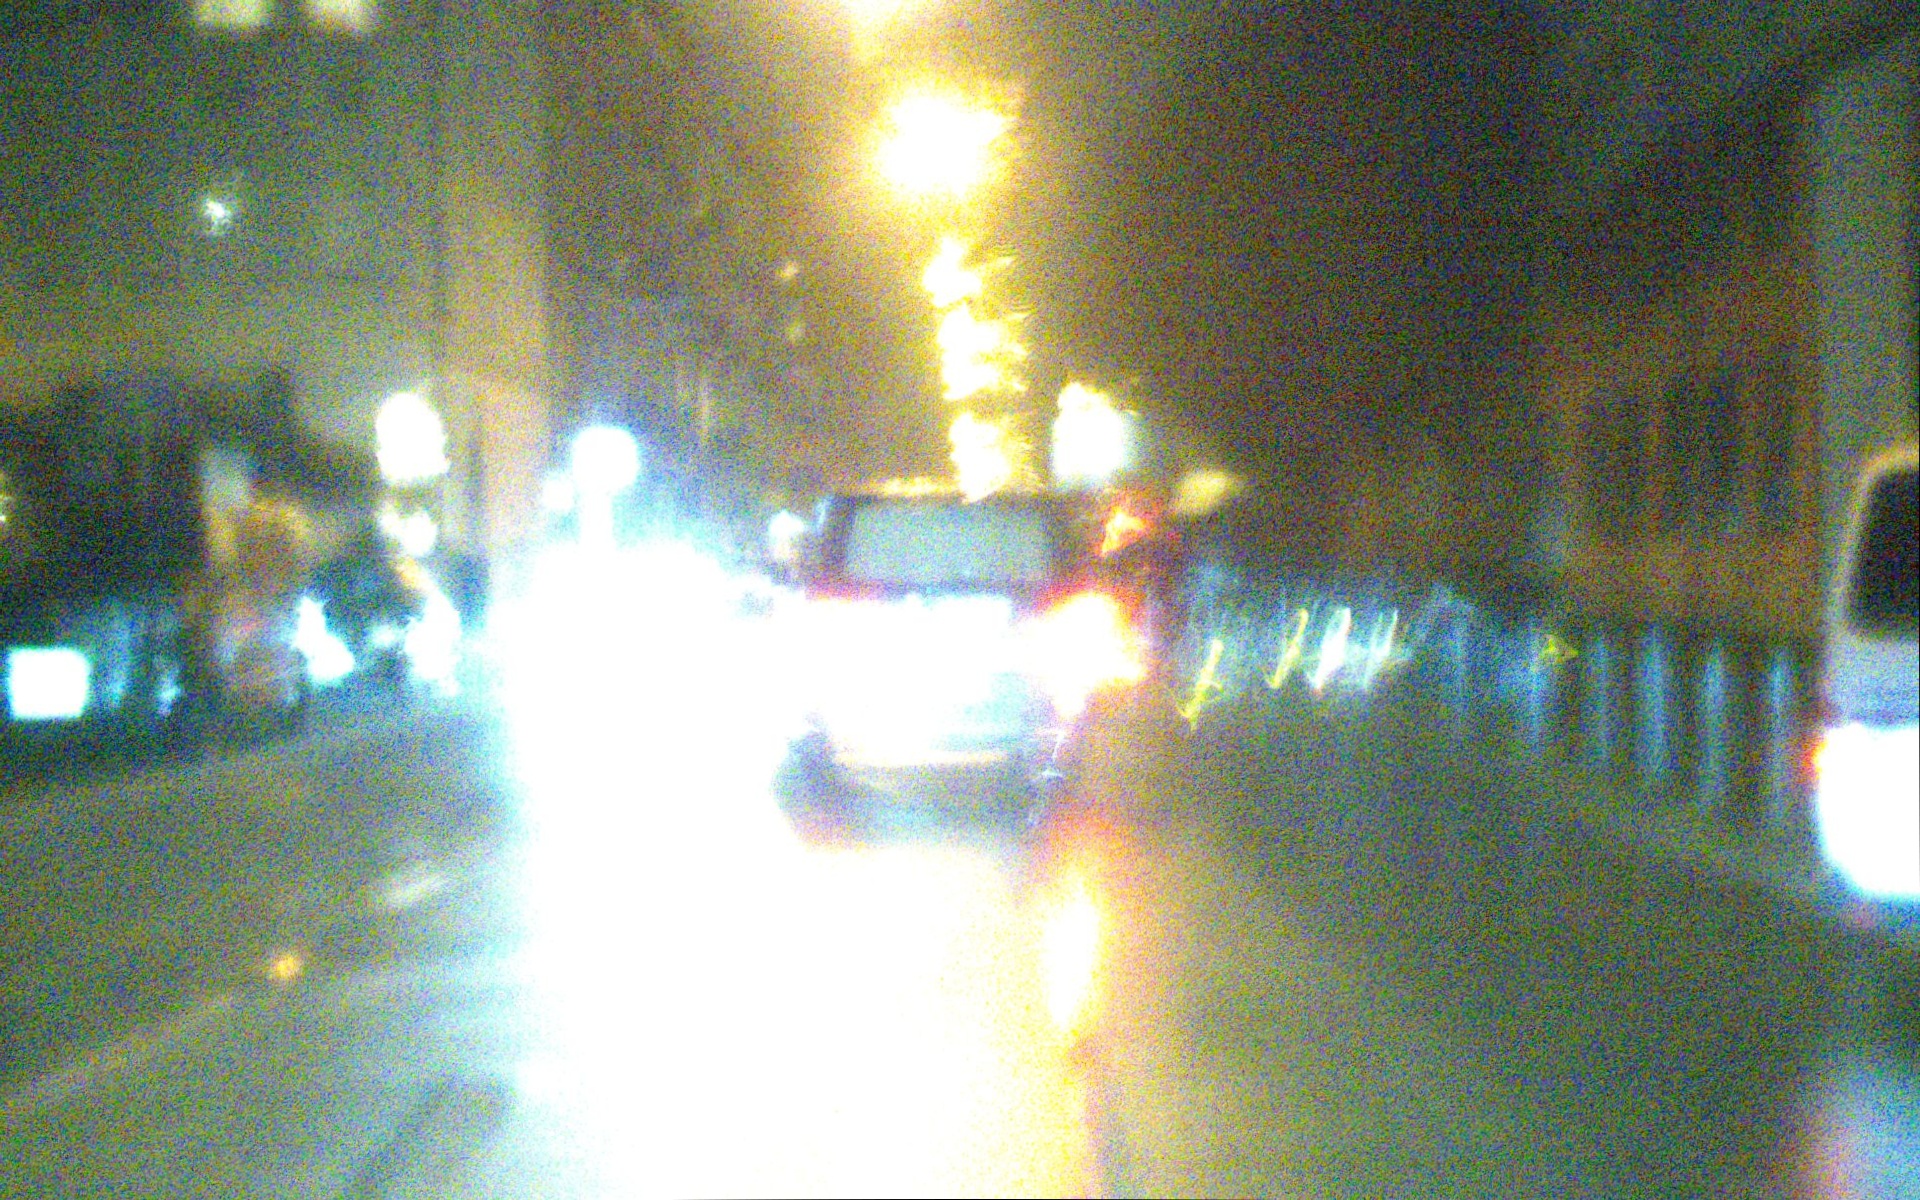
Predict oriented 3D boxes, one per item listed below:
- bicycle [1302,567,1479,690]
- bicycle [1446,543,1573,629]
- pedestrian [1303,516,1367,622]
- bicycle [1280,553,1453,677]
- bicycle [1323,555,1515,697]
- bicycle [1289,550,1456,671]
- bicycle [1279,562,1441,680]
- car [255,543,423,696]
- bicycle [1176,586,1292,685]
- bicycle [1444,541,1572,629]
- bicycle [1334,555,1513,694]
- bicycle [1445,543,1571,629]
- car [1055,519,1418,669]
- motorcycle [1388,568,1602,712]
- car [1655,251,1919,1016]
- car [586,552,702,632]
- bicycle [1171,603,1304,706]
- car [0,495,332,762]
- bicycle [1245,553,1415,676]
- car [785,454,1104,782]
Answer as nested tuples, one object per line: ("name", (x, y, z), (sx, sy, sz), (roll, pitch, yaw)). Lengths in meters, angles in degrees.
("bicycle", (4.107, 0.269, 32.827), (1.595, 1.108, 0.418), (-2, 1, -2))
("bicycle", (7.869, -0.203, 49.225), (1.684, 1.142, 0.429), (-3, 1, -7))
("pedestrian", (6.746, -0.550, 61.911), (0.838, 1.829, 0.947), (-5, 0, -3))
("bicycle", (3.963, 0.144, 33.554), (1.595, 1.154, 0.418), (-2, 1, -2))
("bicycle", (4.148, 0.231, 31.094), (1.664, 1.230, 0.385), (-2, 1, 3))
("bicycle", (4.135, 0.103, 34.495), (1.595, 1.154, 0.418), (-2, 1, -2))
("bicycle", (4.101, 0.216, 35.199), (1.596, 1.154, 0.539), (-1, 1, 9))
("car", (-6.436, 0.169, 35.420), (1.546, 1.438, 3.564), (2, 1, -12))
("bicycle", (2.753, 0.353, 34.522), (1.132, 0.971, 0.249), (-1, 1, -1))
("bicycle", (7.756, -0.212, 48.651), (1.684, 1.142, 0.429), (-3, 1, -7))
("bicycle", (4.255, 0.222, 31.611), (1.580, 1.230, 0.418), (-2, 1, 3))
("bicycle", (7.930, -0.207, 49.758), (1.684, 1.142, 0.486), (-3, 1, -7))
("car", (3.128, -0.078, 38.926), (3.699, 1.517, 1.657), (-2, 1, -24))
("motorcycle", (4.508, 0.329, 29.010), (1.632, 1.120, 0.653), (-3, 1, -6))
("car", (4.986, 0.056, 11.818), (4.926, 2.333, 2.231), (-1, 1, -33))
("car", (-5.613, -0.166, 61.437), (1.654, 1.354, 4.222), (0, 1, 1))
("bicycle", (2.612, 0.511, 32.349), (1.210, 0.944, 0.302), (0, 1, -3))
("car", (-6.231, 0.165, 26.203), (1.866, 1.840, 4.827), (-1, 1, 1))
("bicycle", (3.658, 0.137, 33.984), (1.595, 1.154, 0.418), (-2, 1, -2))
("car", (-0.071, 0.109, 23.621), (1.993, 2.043, 4.000), (0, 0, 1))
